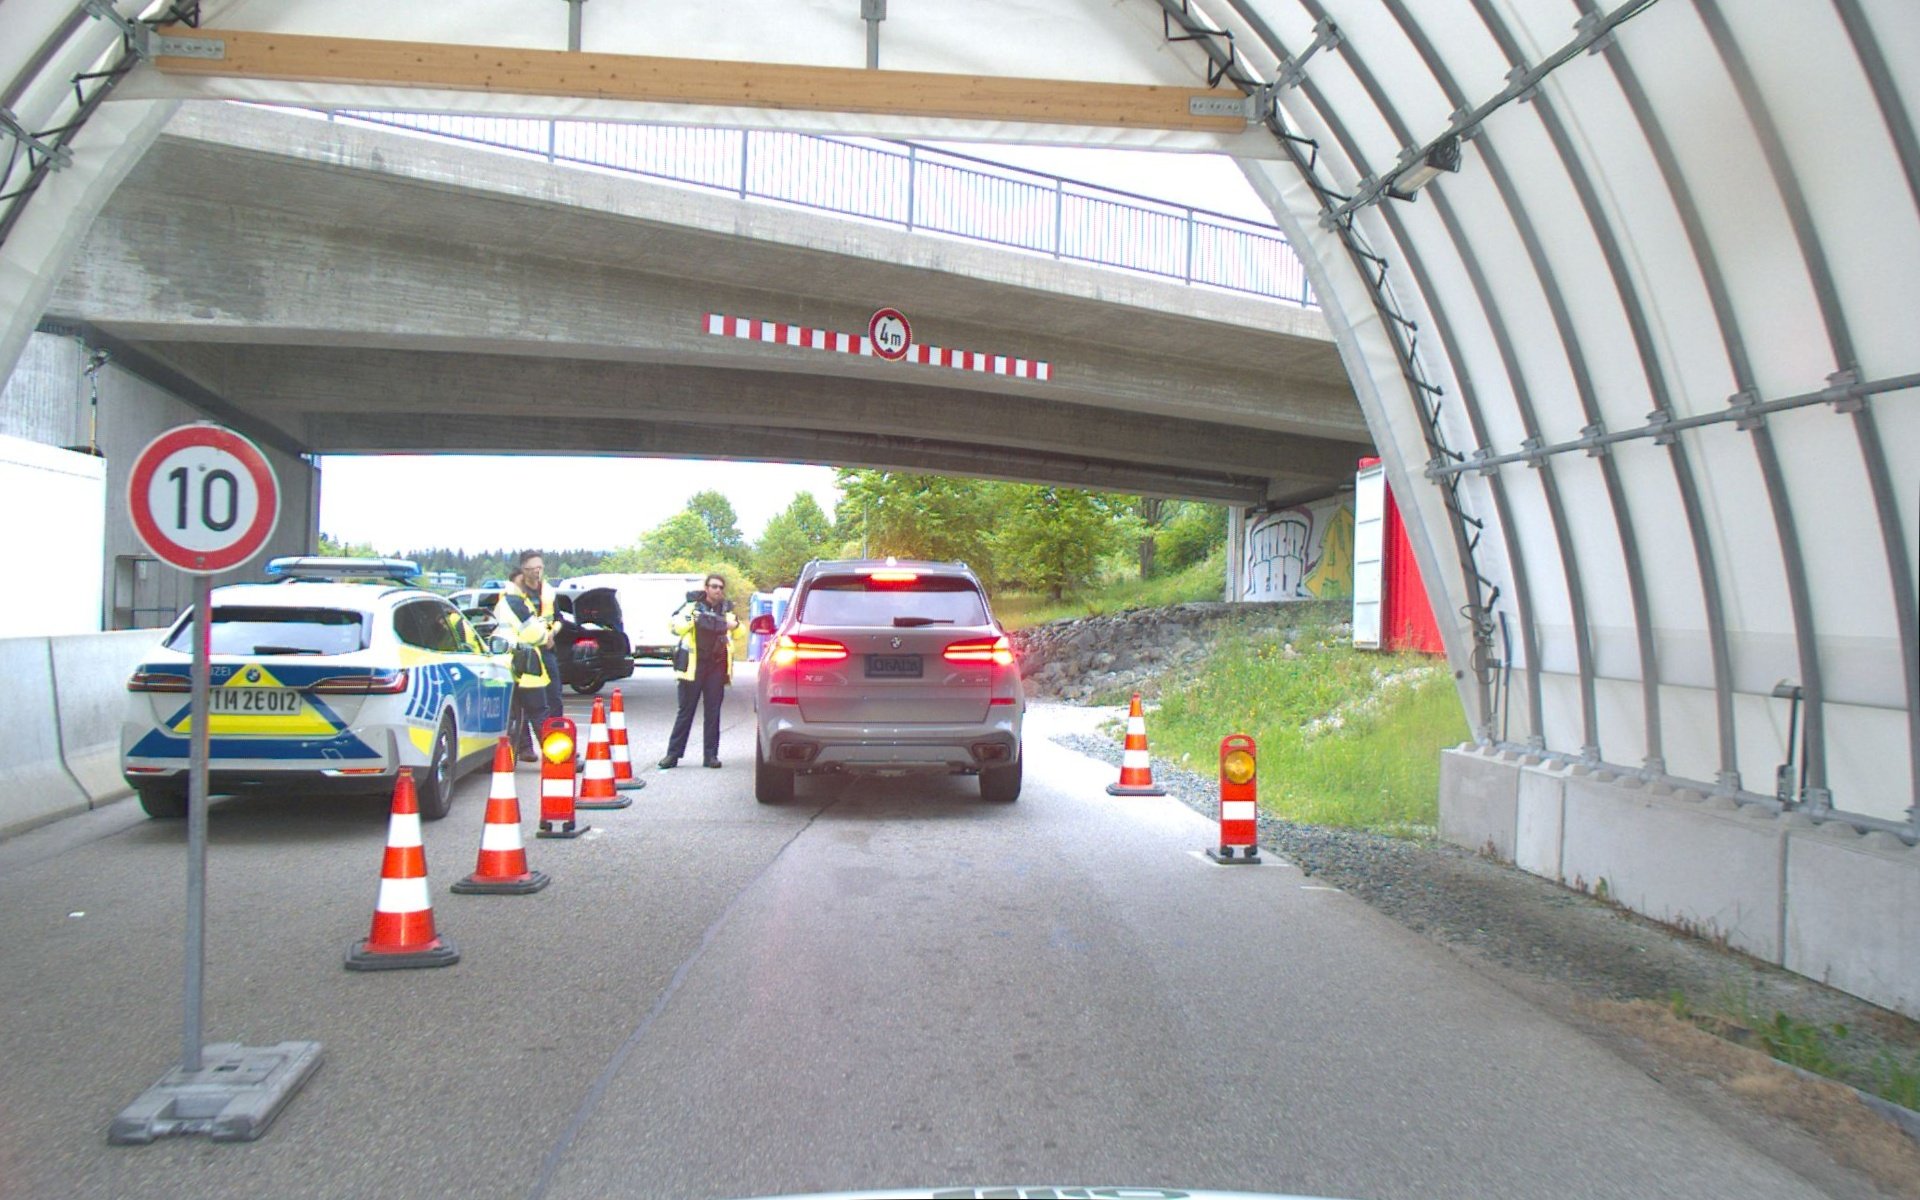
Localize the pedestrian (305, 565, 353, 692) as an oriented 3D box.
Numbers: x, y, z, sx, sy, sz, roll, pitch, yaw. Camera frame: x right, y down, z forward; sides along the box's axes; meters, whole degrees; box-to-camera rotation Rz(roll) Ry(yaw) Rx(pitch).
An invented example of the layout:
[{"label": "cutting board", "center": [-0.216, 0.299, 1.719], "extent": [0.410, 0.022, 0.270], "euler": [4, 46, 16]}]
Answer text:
[{"label": "pedestrian", "center": [-10.316, 0.461, 27.051], "extent": [0.613, 2.049, 0.654], "euler": [0, 0, -10]}]

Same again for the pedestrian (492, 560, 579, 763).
[{"label": "pedestrian", "center": [-3.810, 0.541, 14.875], "extent": [0.596, 1.784, 0.666], "euler": [0, 0, 0]}]

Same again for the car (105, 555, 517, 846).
[{"label": "car", "center": [-4.319, 0.582, 11.683], "extent": [1.843, 1.675, 3.992], "euler": [0, 0, -8]}]

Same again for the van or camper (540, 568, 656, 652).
[{"label": "van or camper", "center": [-11.811, 0.309, 53.718], "extent": [2.082, 2.563, 5.493], "euler": [0, 0, -31]}]

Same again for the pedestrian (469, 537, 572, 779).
[{"label": "pedestrian", "center": [-3.649, 0.468, 13.780], "extent": [0.735, 1.952, 0.761], "euler": [0, 0, -9]}]

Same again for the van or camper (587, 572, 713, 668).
[{"label": "van or camper", "center": [-9.119, 0.543, 48.115], "extent": [2.200, 2.597, 6.562], "euler": [0, 0, -23]}]

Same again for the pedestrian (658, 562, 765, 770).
[{"label": "pedestrian", "center": [-2.175, 0.553, 14.442], "extent": [0.769, 1.752, 0.751], "euler": [0, 0, -23]}]

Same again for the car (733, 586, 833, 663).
[{"label": "car", "center": [-5.742, 0.750, 53.157], "extent": [1.969, 2.387, 3.966], "euler": [0, 0, -26]}]

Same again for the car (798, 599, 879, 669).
[{"label": "car", "center": [-3.270, 0.869, 43.777], "extent": [1.955, 1.752, 3.890], "euler": [0, 0, -7]}]

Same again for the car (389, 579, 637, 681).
[{"label": "car", "center": [-9.330, 0.602, 34.644], "extent": [4.703, 2.049, 1.842], "euler": [0, 0, 13]}]

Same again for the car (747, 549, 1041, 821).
[{"label": "car", "center": [-0.545, 0.564, 13.051], "extent": [1.954, 1.796, 3.997], "euler": [0, 0, -3]}]

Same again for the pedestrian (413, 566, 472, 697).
[{"label": "pedestrian", "center": [-8.214, 0.492, 26.263], "extent": [0.686, 2.049, 0.693], "euler": [0, 0, 5]}]
